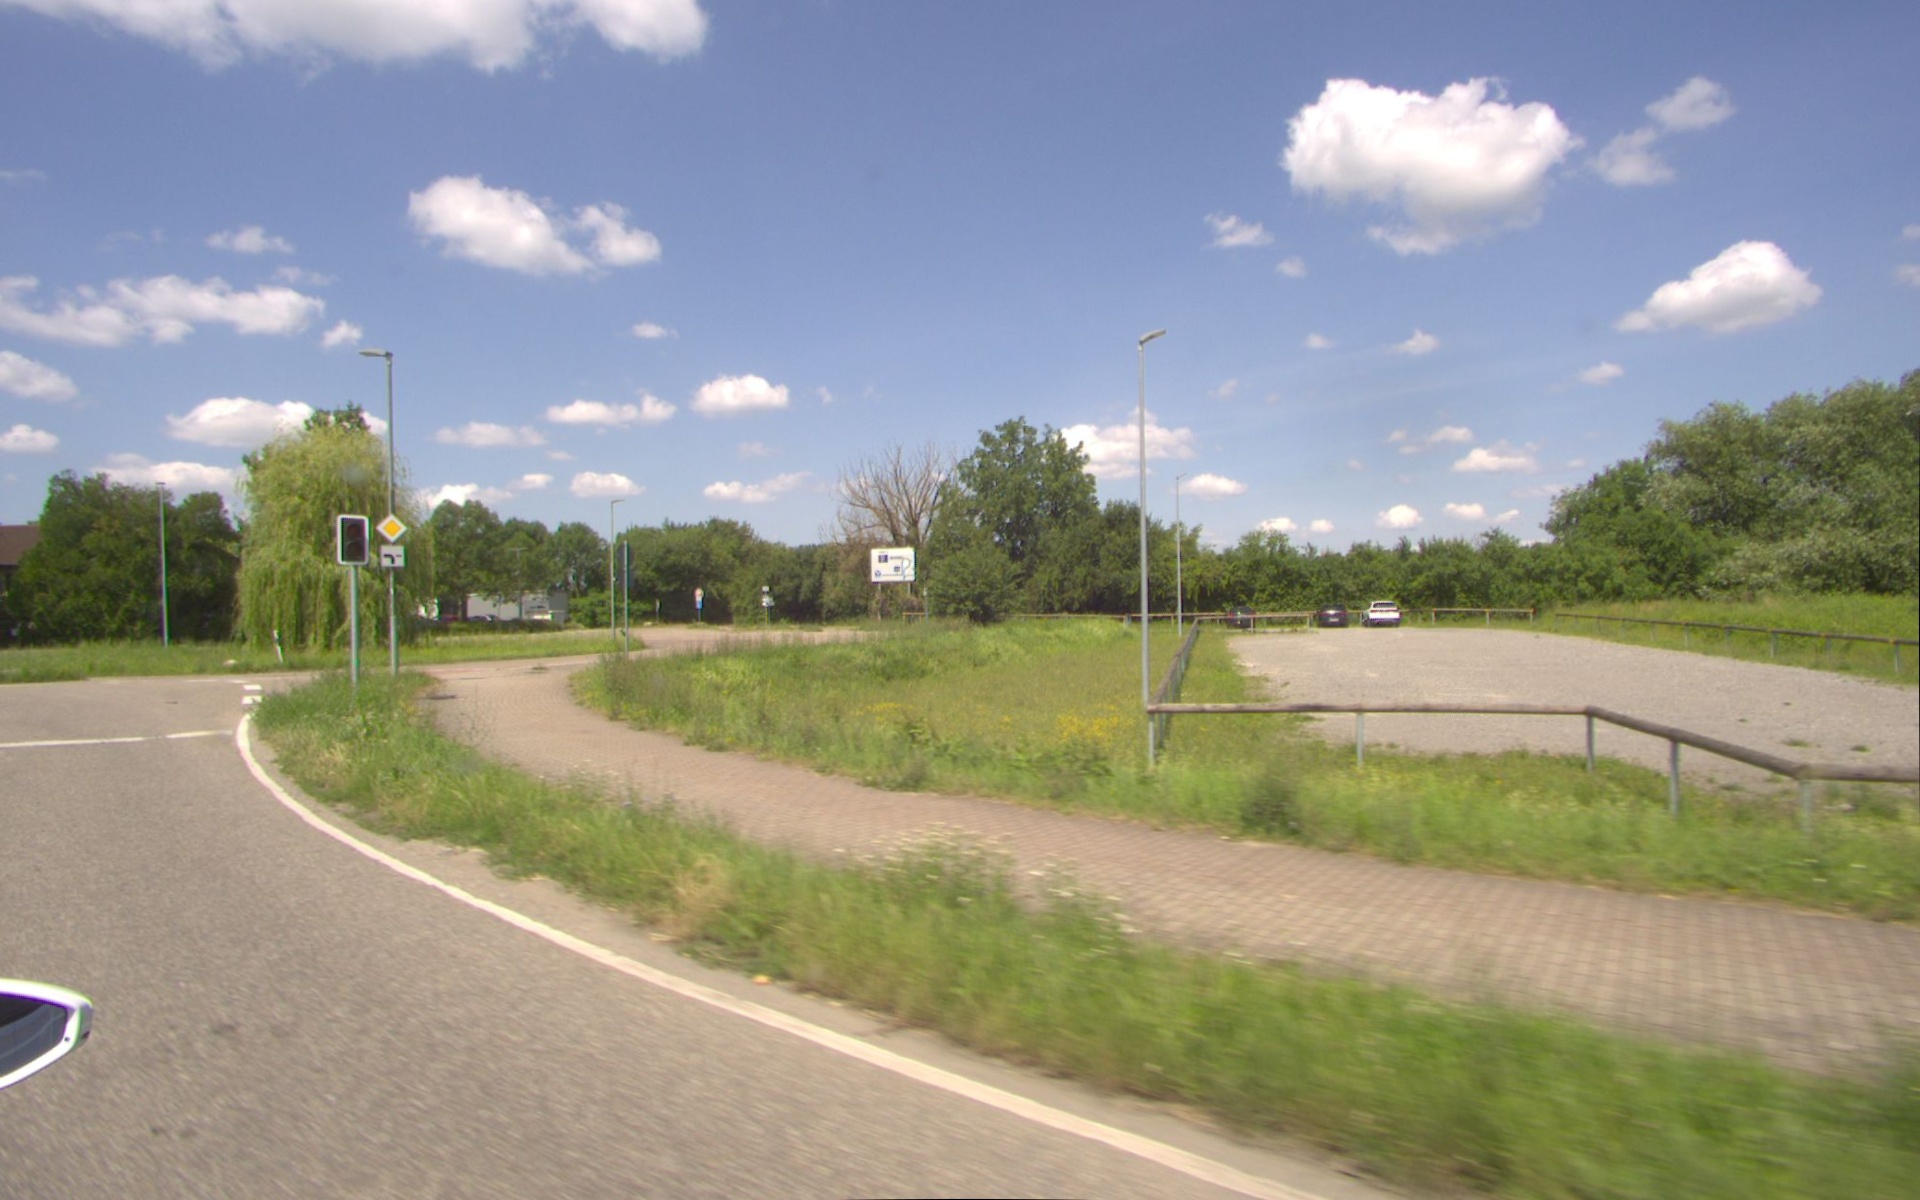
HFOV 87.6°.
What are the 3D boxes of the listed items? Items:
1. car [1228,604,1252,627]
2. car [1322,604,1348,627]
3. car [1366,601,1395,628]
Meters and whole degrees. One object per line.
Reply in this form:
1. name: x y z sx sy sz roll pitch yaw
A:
1. car: 17.597 0.983 62.793 1.393 1.355 3.115 -1 -2 17
2. car: 22.686 0.966 60.589 1.394 1.355 3.113 -1 -2 20
3. car: 25.160 0.892 59.920 1.394 1.523 3.113 -1 -2 20
